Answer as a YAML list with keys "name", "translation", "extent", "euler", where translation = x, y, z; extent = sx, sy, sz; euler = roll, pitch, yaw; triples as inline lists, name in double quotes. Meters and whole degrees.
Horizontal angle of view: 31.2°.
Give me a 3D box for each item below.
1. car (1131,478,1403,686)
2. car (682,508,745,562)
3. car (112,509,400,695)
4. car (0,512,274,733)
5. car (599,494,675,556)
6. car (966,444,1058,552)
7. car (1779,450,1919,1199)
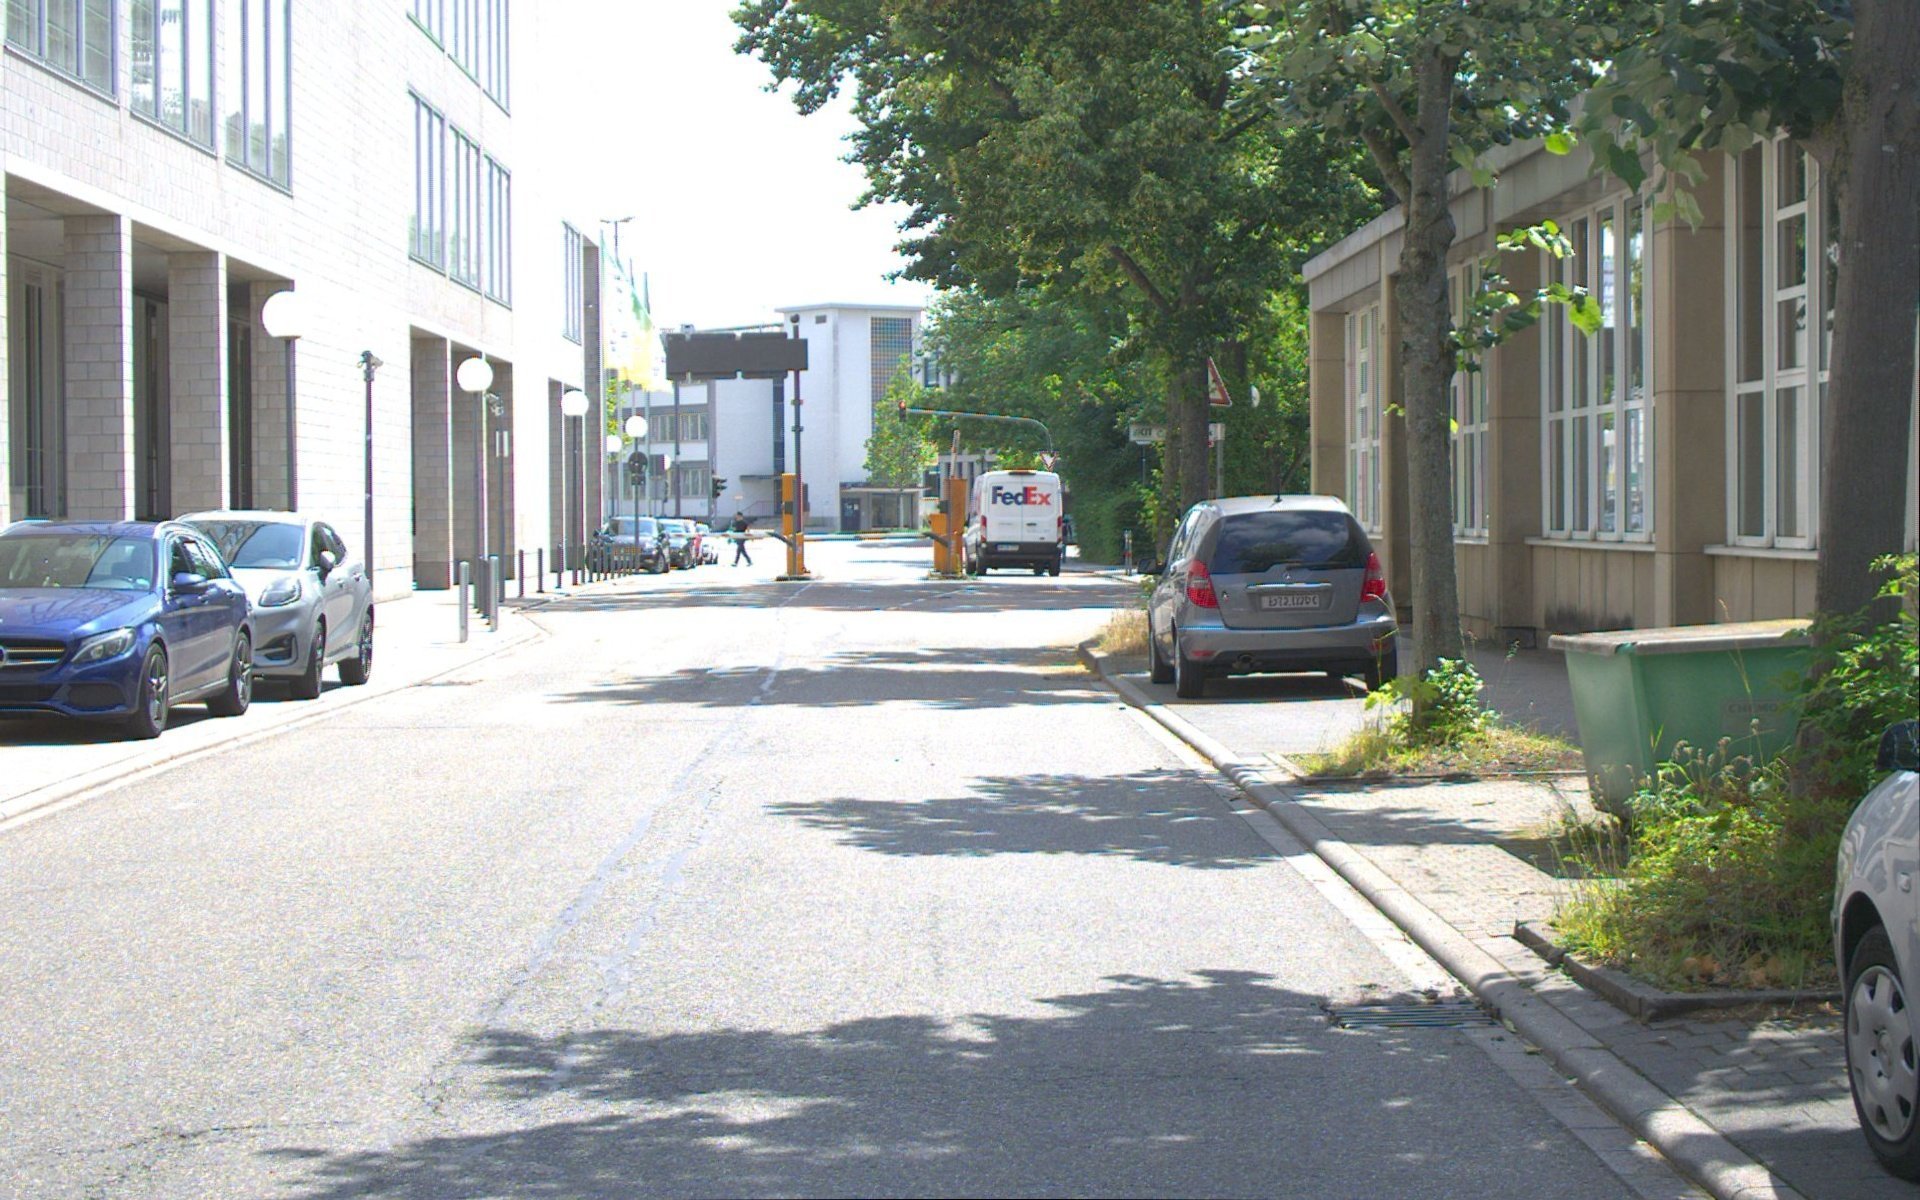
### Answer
- name: "car"
  translation: [2.494, -0.195, 28.780]
  extent: [1.858, 1.568, 4.000]
  euler: [-2, 2, 0]
- name: "car"
  translation: [-7.270, -1.907, 101.588]
  extent: [1.646, 1.492, 3.729]
  euler: [-1, 0, -1]
- name: "car"
  translation: [-5.964, -0.035, 29.560]
  extent: [1.631, 1.479, 4.178]
  euler: [0, 1, 0]
- name: "car"
  translation: [-6.180, 0.101, 24.248]
  extent: [1.766, 1.422, 4.235]
  euler: [0, 1, 1]
- name: "car"
  translation: [-8.341, -1.929, 89.041]
  extent: [1.646, 1.492, 3.729]
  euler: [-1, 0, -1]
- name: "car"
  translation: [1.235, -2.482, 83.684]
  extent: [2.083, 2.531, 4.316]
  euler: [1, 2, -1]
- name: "car"
  translation: [2.751, 0.483, 6.202]
  extent: [1.616, 1.533, 3.780]
  euler: [0, 2, 0]
